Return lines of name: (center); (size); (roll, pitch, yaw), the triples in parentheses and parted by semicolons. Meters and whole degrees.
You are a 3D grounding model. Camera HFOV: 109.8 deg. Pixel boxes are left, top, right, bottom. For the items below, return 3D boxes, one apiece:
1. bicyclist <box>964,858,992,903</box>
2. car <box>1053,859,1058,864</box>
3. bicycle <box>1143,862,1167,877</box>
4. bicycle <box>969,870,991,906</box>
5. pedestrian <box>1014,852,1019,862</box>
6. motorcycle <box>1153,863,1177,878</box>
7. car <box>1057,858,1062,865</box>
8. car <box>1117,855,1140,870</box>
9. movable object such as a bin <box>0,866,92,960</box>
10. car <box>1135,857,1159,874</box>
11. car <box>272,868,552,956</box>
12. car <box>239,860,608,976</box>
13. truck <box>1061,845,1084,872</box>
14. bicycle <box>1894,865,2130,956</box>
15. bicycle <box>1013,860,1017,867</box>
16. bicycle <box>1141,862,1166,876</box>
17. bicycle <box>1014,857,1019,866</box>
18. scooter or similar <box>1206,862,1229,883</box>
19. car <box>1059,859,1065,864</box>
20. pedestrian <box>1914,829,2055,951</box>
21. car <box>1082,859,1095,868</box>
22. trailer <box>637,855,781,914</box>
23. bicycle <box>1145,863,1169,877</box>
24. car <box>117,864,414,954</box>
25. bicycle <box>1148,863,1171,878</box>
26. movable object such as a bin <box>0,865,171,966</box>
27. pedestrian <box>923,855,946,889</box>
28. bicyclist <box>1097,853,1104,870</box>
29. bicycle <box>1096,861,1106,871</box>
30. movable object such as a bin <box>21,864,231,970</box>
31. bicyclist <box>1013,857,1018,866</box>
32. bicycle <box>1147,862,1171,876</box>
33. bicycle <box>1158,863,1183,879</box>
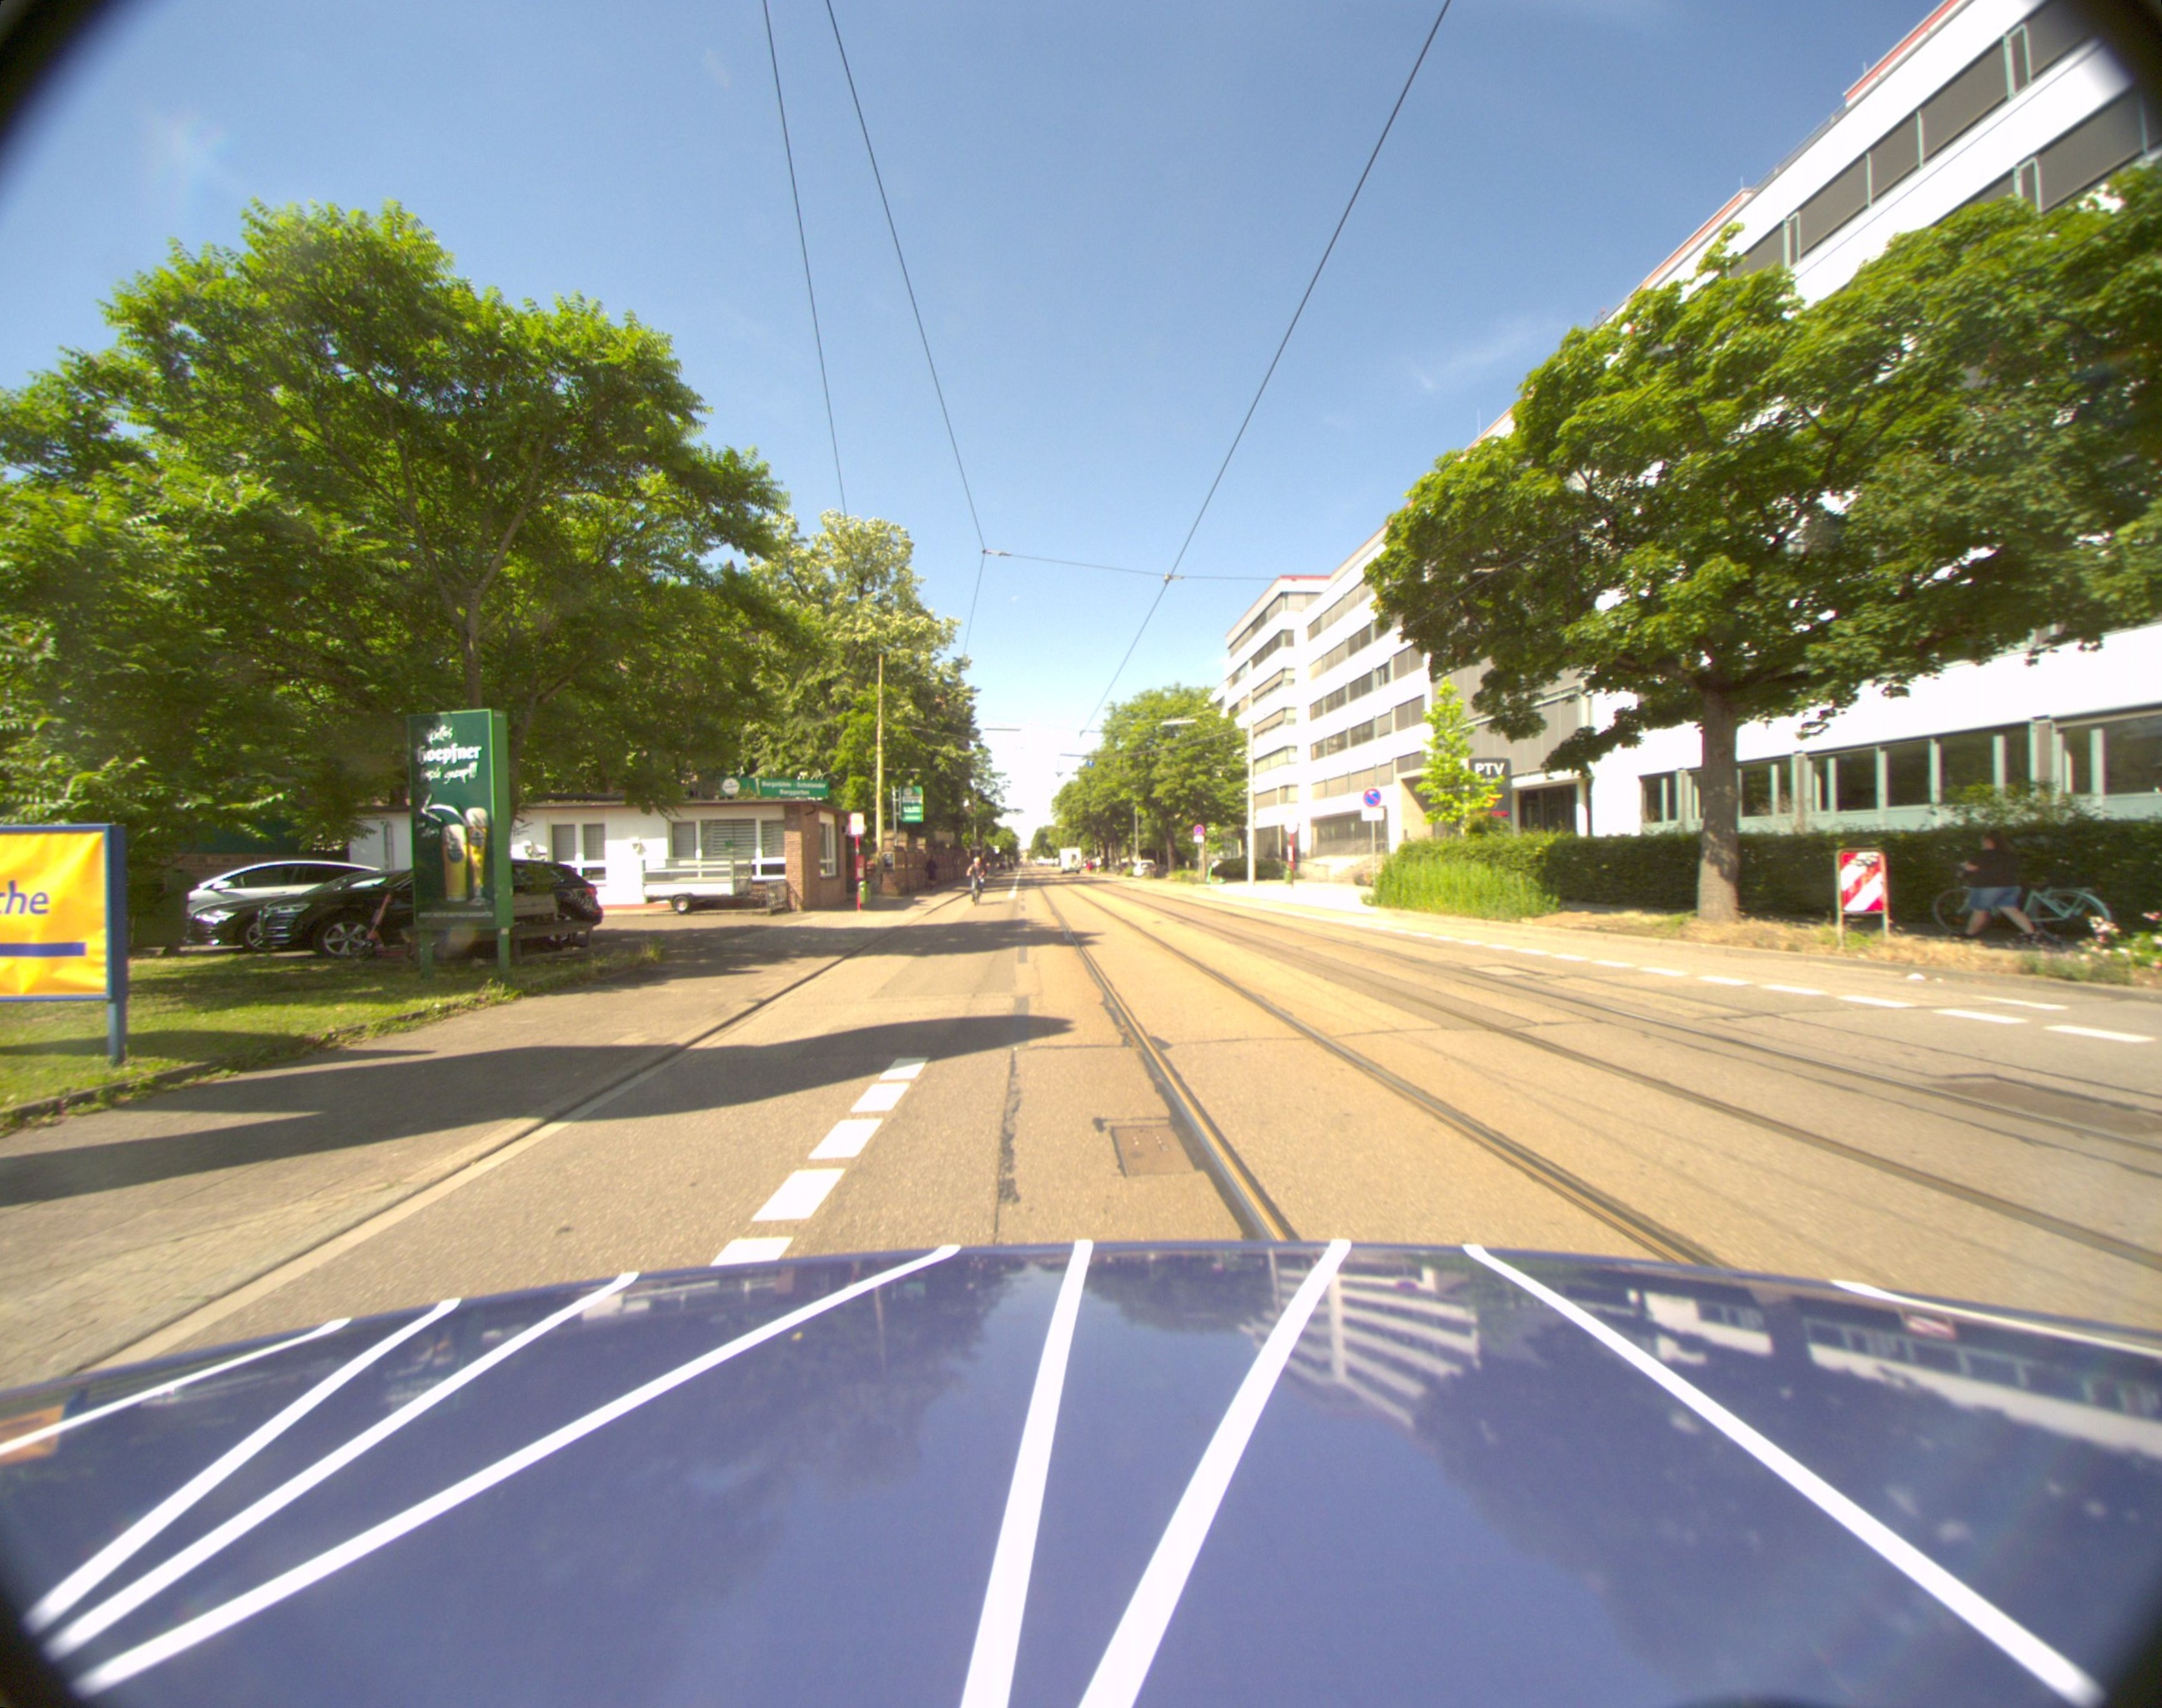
bicyclist: (-3.738, 0.937, 27.682); (0.906, 1.586, 0.964); (-1, 0, -4)
car: (-8.442, 2.514, 253.642); (1.634, 1.560, 4.112); (-1, 0, -3)
bicycle: (6.014, 1.241, 61.660); (1.878, 1.135, 0.686); (-1, 0, -4)
bicycle: (-3.711, 1.227, 27.946); (0.611, 1.190, 2.122); (-4, 0, -5)
pedestrian: (-13.511, 0.554, 159.041); (1.107, 2.002, 1.166); (-3, 0, -4)
motorcycle: (6.402, 1.252, 58.186); (1.729, 1.080, 0.658); (-1, 0, -4)
car: (-6.579, 2.265, 232.880); (1.634, 1.935, 4.112); (-1, 0, -3)
car: (4.915, 0.879, 78.764); (1.635, 1.474, 4.271); (-1, 0, -6)
movable object such as a bin: (-17.928, 0.974, 12.761); (1.326, 1.493, 1.333); (-1, 0, 25)
car: (5.760, 0.988, 66.268); (1.634, 1.463, 3.629); (-1, 0, -2)
car: (-13.378, 1.053, 15.382); (1.842, 1.465, 4.008); (-1, 0, 40)
car: (-11.380, 0.963, 13.474); (2.014, 1.631, 4.669); (-1, 0, 40)
truck: (-1.058, 0.548, 89.561); (2.409, 3.090, 6.035); (-1, 0, -4)
bicycle: (12.685, 0.719, 10.482); (0.638, 1.111, 2.066); (-1, 0, -4)
bicycle: (-10.725, 1.562, 123.823); (0.593, 1.099, 2.053); (-1, 0, -3)
bicycle: (5.974, 1.225, 62.305); (1.909, 1.162, 0.819); (-1, 0, -4)
bicycle: (-13.487, 1.607, 159.328); (0.999, 1.733, 3.162); (-3, 0, -3)
scooter or similar: (7.670, 1.032, 42.692); (1.129, 1.159, 0.676); (-1, 0, -1)
car: (-5.313, 2.014, 211.860); (1.634, 1.463, 4.112); (-1, 0, -3)
pedestrian: (12.258, 0.466, 10.339); (0.688, 1.554, 0.988); (-3, 0, -8)
car: (1.235, 1.575, 127.851); (1.635, 1.347, 3.900); (-1, 0, -5)
trailer: (-10.677, 0.842, 21.980); (3.283, 1.594, 1.723); (-1, 0, -2)
bicycle: (6.108, 1.284, 60.987); (1.854, 1.125, 0.680); (-1, 0, -4)
car: (-16.646, 1.021, 15.727); (1.842, 1.548, 4.008); (-1, 0, 40)
bicycle: (6.153, 1.276, 59.571); (1.729, 1.080, 0.639); (-1, 0, -4)
movable object such as a bin: (-16.088, 0.947, 12.197); (1.419, 1.493, 1.381); (-1, 0, 13)
pedestrian: (-8.016, 0.971, 41.634); (0.979, 1.805, 1.184); (2, 0, -3)
bicyclist: (2.138, 0.822, 82.587); (0.638, 1.860, 1.024); (-1, 0, -4)
bicycle: (2.176, 1.285, 82.613); (0.858, 1.103, 2.138); (-1, 0, -4)
movable object such as a bin: (-14.463, 0.913, 11.586); (1.421, 1.493, 1.379); (-1, 0, 0)
bicyclist: (-10.733, 1.257, 123.740); (0.742, 1.522, 0.947); (-1, 0, -3)
bicycle: (6.200, 1.208, 60.463); (1.798, 1.080, 0.726); (-1, 0, -4)
bicycle: (6.604, 1.252, 55.983); (1.729, 1.080, 0.789); (-1, 0, -4)
